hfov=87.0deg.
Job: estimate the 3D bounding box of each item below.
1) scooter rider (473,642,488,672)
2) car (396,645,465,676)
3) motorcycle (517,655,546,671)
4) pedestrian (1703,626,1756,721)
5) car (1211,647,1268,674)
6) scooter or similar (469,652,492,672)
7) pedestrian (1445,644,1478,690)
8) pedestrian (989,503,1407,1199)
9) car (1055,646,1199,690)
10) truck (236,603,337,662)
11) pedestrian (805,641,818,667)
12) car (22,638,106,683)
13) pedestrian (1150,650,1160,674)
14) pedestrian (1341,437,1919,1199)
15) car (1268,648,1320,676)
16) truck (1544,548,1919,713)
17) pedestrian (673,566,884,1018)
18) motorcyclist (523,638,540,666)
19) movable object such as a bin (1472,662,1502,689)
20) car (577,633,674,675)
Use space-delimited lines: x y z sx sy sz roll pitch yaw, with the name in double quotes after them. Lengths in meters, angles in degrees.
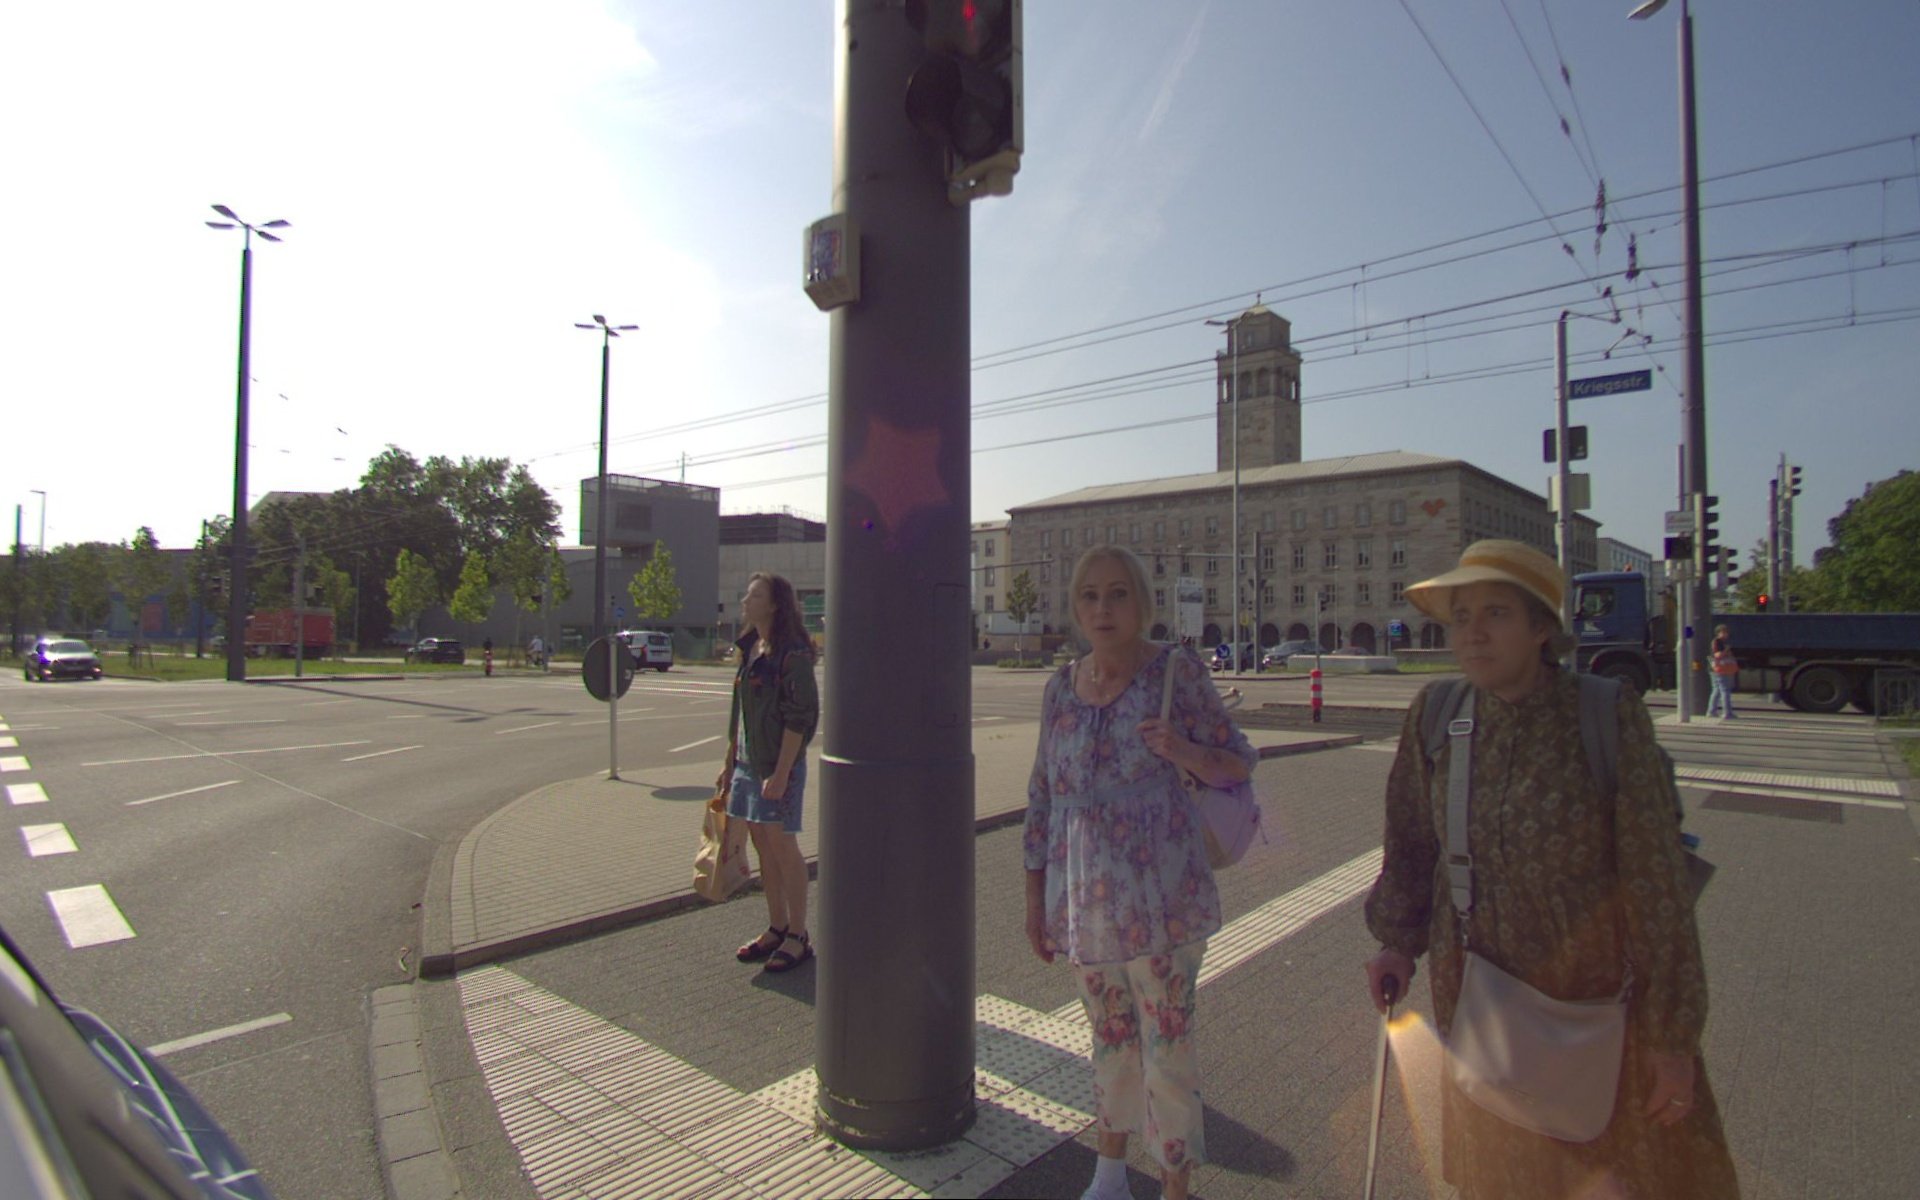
-27.589 3.277 58.193 0.548 1.711 0.532 -2 -3 34 "scooter rider"
-28.874 3.279 55.209 3.989 1.614 1.626 -2 -3 34 "car"
-23.372 3.412 55.145 1.816 0.839 0.515 -2 -3 32 "motorcycle"
14.018 1.334 18.443 0.365 1.689 0.641 2 -3 -35 "pedestrian"
15.023 3.241 54.338 1.707 1.391 3.607 -2 -3 37 "car"
-27.561 3.570 58.169 1.379 1.155 0.534 -2 -3 34 "scooter or similar"
19.514 2.591 39.392 1.006 1.747 0.554 -2 -4 43 "pedestrian"
0.517 0.668 2.272 0.776 1.662 0.463 -2 -3 39 "pedestrian"
5.416 2.185 33.065 4.408 1.357 1.584 -2 -3 31 "car"
-46.642 2.278 69.929 10.413 3.838 2.941 -2 -3 40 "truck"
-9.833 3.594 66.982 0.538 1.710 0.598 -3 -4 43 "pedestrian"
-31.463 2.107 35.512 3.866 1.443 1.687 -2 -1 40 "car"
14.395 4.602 74.789 0.575 1.744 0.642 -1 -3 27 "pedestrian"
1.106 0.640 1.647 0.776 1.662 0.463 -2 -3 39 "pedestrian"
17.345 3.186 52.469 1.567 1.431 3.300 -2 -3 37 "car"
19.497 0.790 24.786 8.860 3.614 2.998 -2 -3 32 "truck"
-0.754 0.722 4.181 0.776 1.662 0.463 -2 -3 39 "pedestrian"
-23.381 2.833 55.204 0.858 1.539 0.387 -2 -3 32 "motorcyclist"
20.181 2.892 38.742 0.908 1.022 0.557 -2 -4 43 "movable object such as a bin"
-15.096 2.425 45.606 4.502 1.802 1.604 -1 -3 31 "car"
